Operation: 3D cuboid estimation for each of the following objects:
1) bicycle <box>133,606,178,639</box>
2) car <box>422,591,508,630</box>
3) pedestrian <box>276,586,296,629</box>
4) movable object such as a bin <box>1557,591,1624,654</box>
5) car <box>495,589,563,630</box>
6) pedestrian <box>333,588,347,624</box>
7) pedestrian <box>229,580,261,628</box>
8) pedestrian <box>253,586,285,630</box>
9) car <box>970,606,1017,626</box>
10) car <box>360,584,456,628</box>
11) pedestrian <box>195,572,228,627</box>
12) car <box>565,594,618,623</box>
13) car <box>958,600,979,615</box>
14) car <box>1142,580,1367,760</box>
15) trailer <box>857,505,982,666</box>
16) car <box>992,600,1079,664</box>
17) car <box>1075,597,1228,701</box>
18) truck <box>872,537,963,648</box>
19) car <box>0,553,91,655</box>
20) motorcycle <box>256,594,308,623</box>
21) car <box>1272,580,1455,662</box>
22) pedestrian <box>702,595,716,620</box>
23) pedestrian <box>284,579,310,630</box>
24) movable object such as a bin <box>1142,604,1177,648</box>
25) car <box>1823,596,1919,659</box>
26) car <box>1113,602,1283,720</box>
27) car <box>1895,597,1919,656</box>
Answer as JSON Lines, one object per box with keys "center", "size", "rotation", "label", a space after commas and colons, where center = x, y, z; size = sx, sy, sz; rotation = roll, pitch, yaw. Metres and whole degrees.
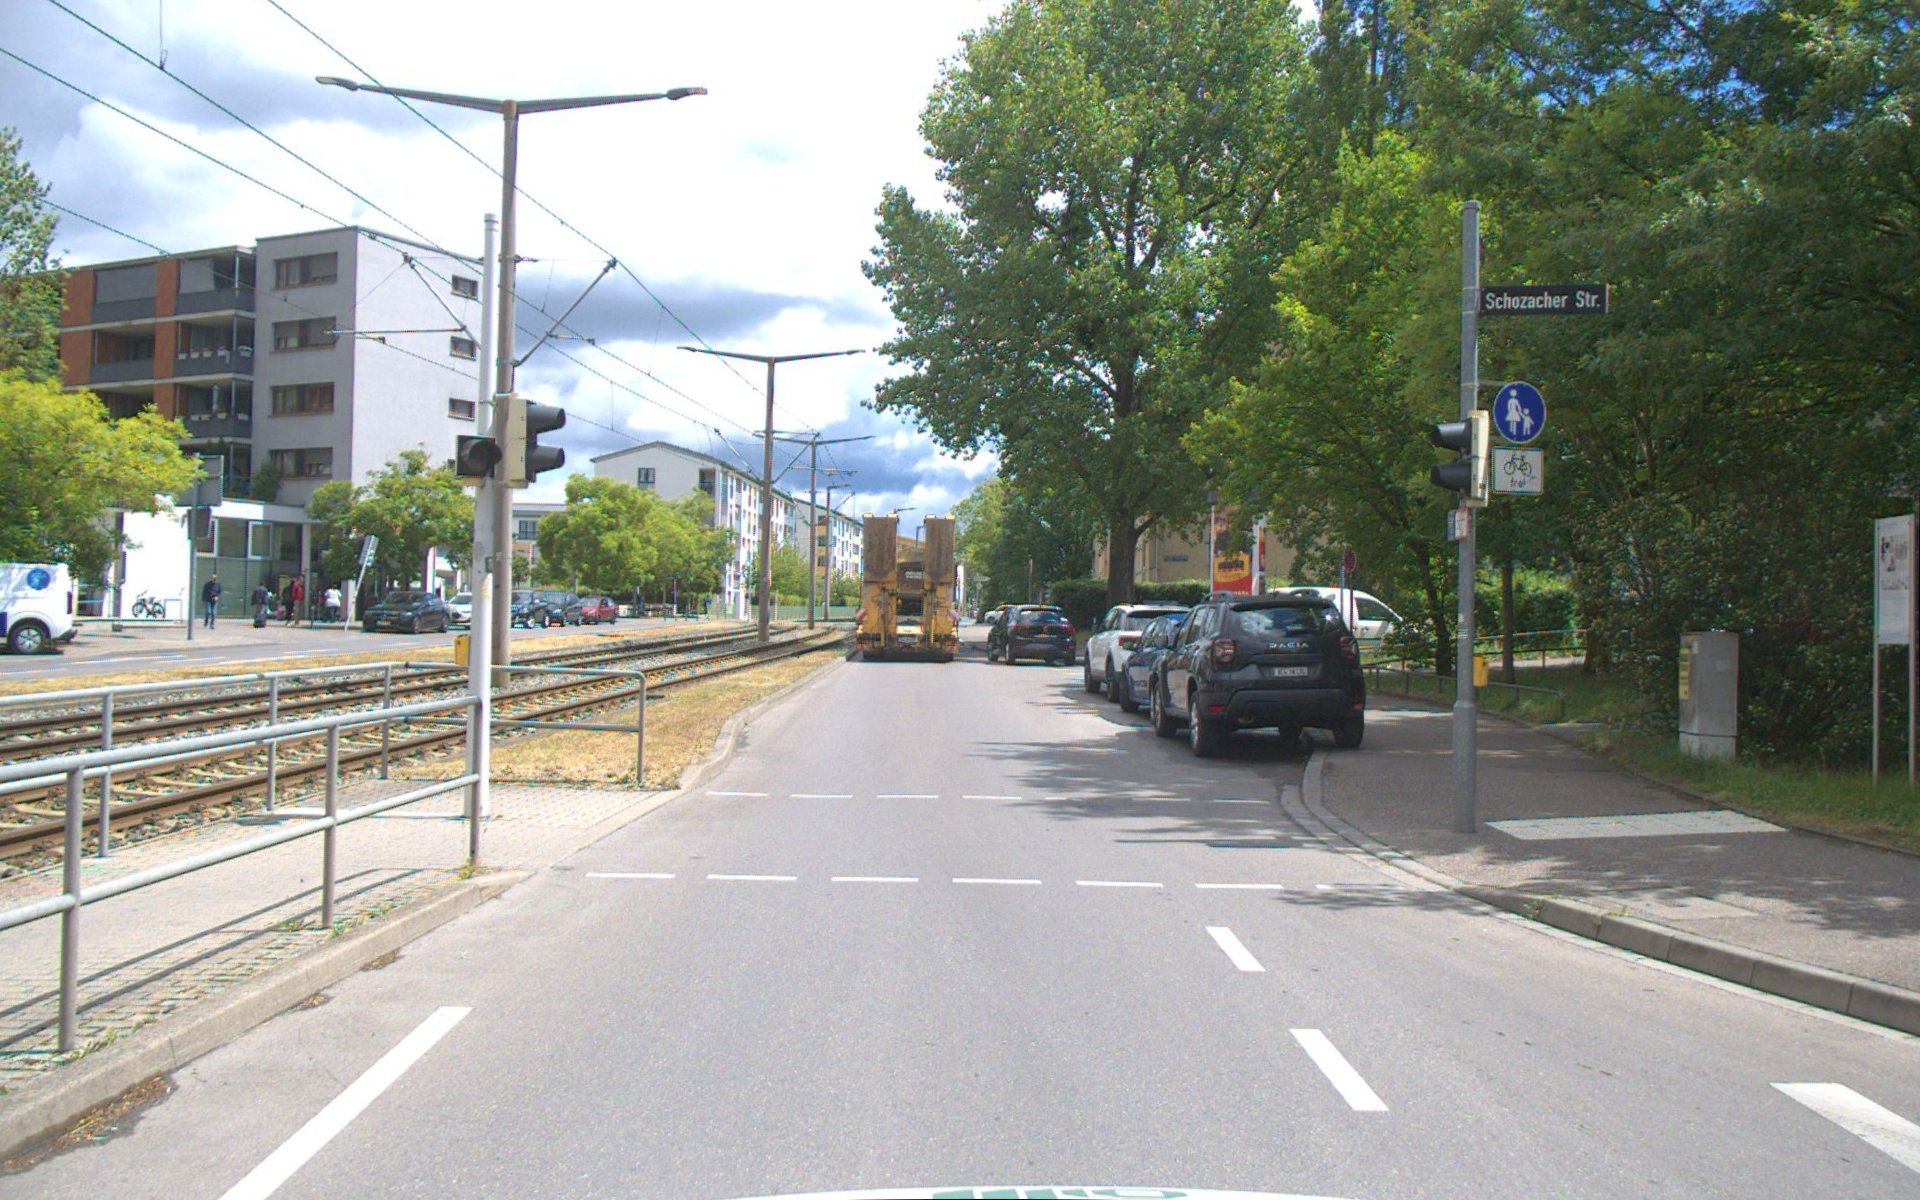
{"center": [-31.407, 0.866, 64.538], "size": [1.931, 1.233, 0.667], "rotation": [0, 0, 32], "label": "bicycle"}
{"center": [-19.673, 0.400, 65.933], "size": [1.717, 1.501, 4.403], "rotation": [0, 0, 6], "label": "car"}
{"center": [-25.536, 0.276, 62.631], "size": [0.655, 1.601, 0.682], "rotation": [0, 0, -27], "label": "pedestrian"}
{"center": [14.930, 0.525, 39.199], "size": [1.093, 1.455, 1.285], "rotation": [0, 0, -2], "label": "movable object such as a bin"}
{"center": [-18.874, 0.407, 72.635], "size": [1.953, 1.691, 4.099], "rotation": [2, 0, -1], "label": "car"}
{"center": [-25.914, 0.261, 69.162], "size": [0.491, 1.485, 0.556], "rotation": [0, 0, -27], "label": "pedestrian"}
{"center": [-25.350, 0.135, 58.644], "size": [0.823, 1.678, 0.613], "rotation": [1, 0, 11], "label": "pedestrian"}
{"center": [-24.511, 0.276, 58.679], "size": [0.588, 1.560, 0.974], "rotation": [0, 0, 13], "label": "pedestrian"}
{"center": [2.783, 1.357, 136.304], "size": [3.521, 1.612, 2.001], "rotation": [0, -1, 13], "label": "car"}
{"center": [-19.688, 0.199, 59.138], "size": [1.698, 1.453, 4.382], "rotation": [2, 0, 3], "label": "car"}
{"center": [-25.013, -0.017, 55.289], "size": [0.834, 1.824, 0.862], "rotation": [0, 0, -37], "label": "pedestrian"}
{"center": [-18.966, 0.429, 85.225], "size": [1.579, 1.451, 3.425], "rotation": [0, 0, 7], "label": "car"}
{"center": [0.835, 0.708, 155.084], "size": [1.952, 1.411, 4.000], "rotation": [0, 0, 0], "label": "car"}
{"center": [3.198, 0.685, 18.817], "size": [1.610, 1.793, 4.568], "rotation": [0, 0, -2], "label": "car"}
{"center": [-1.099, -0.400, 45.361], "size": [2.989, 3.838, 11.609], "rotation": [0, 0, -1], "label": "trailer"}
{"center": [1.822, 0.750, 40.841], "size": [1.779, 1.474, 3.824], "rotation": [0, 0, -3], "label": "car"}
{"center": [3.148, 0.761, 28.065], "size": [1.748, 1.592, 4.566], "rotation": [0, 0, -4], "label": "car"}
{"center": [-1.404, -0.252, 54.686], "size": [2.776, 3.388, 7.982], "rotation": [0, 0, -1], "label": "truck"}
{"center": [-21.592, 0.085, 35.744], "size": [4.719, 2.194, 1.878], "rotation": [0, 0, -41], "label": "car"}
{"center": [-28.548, 0.368, 69.641], "size": [1.854, 1.199, 0.741], "rotation": [0, 0, -2], "label": "motorcycle"}
{"center": [9.500, 0.467, 38.991], "size": [3.933, 1.854, 1.798], "rotation": [0, 0, -23], "label": "car"}
{"center": [-16.750, 0.510, 110.177], "size": [0.733, 1.691, 0.870], "rotation": [0, 0, 5], "label": "pedestrian"}
{"center": [-24.170, 0.165, 60.302], "size": [0.598, 1.824, 0.843], "rotation": [0, 0, 0], "label": "pedestrian"}
{"center": [6.837, 0.889, 56.654], "size": [1.076, 1.464, 0.761], "rotation": [0, 0, -2], "label": "movable object such as a bin"}
{"center": [23.847, 0.669, 42.046], "size": [1.707, 1.496, 4.000], "rotation": [0, 0, 0], "label": "car"}
{"center": [3.249, 0.784, 23.319], "size": [1.611, 1.483, 4.073], "rotation": [0, 0, -3], "label": "car"}
{"center": [26.525, 0.717, 43.435], "size": [1.707, 1.555, 4.000], "rotation": [0, 0, 0], "label": "car"}
